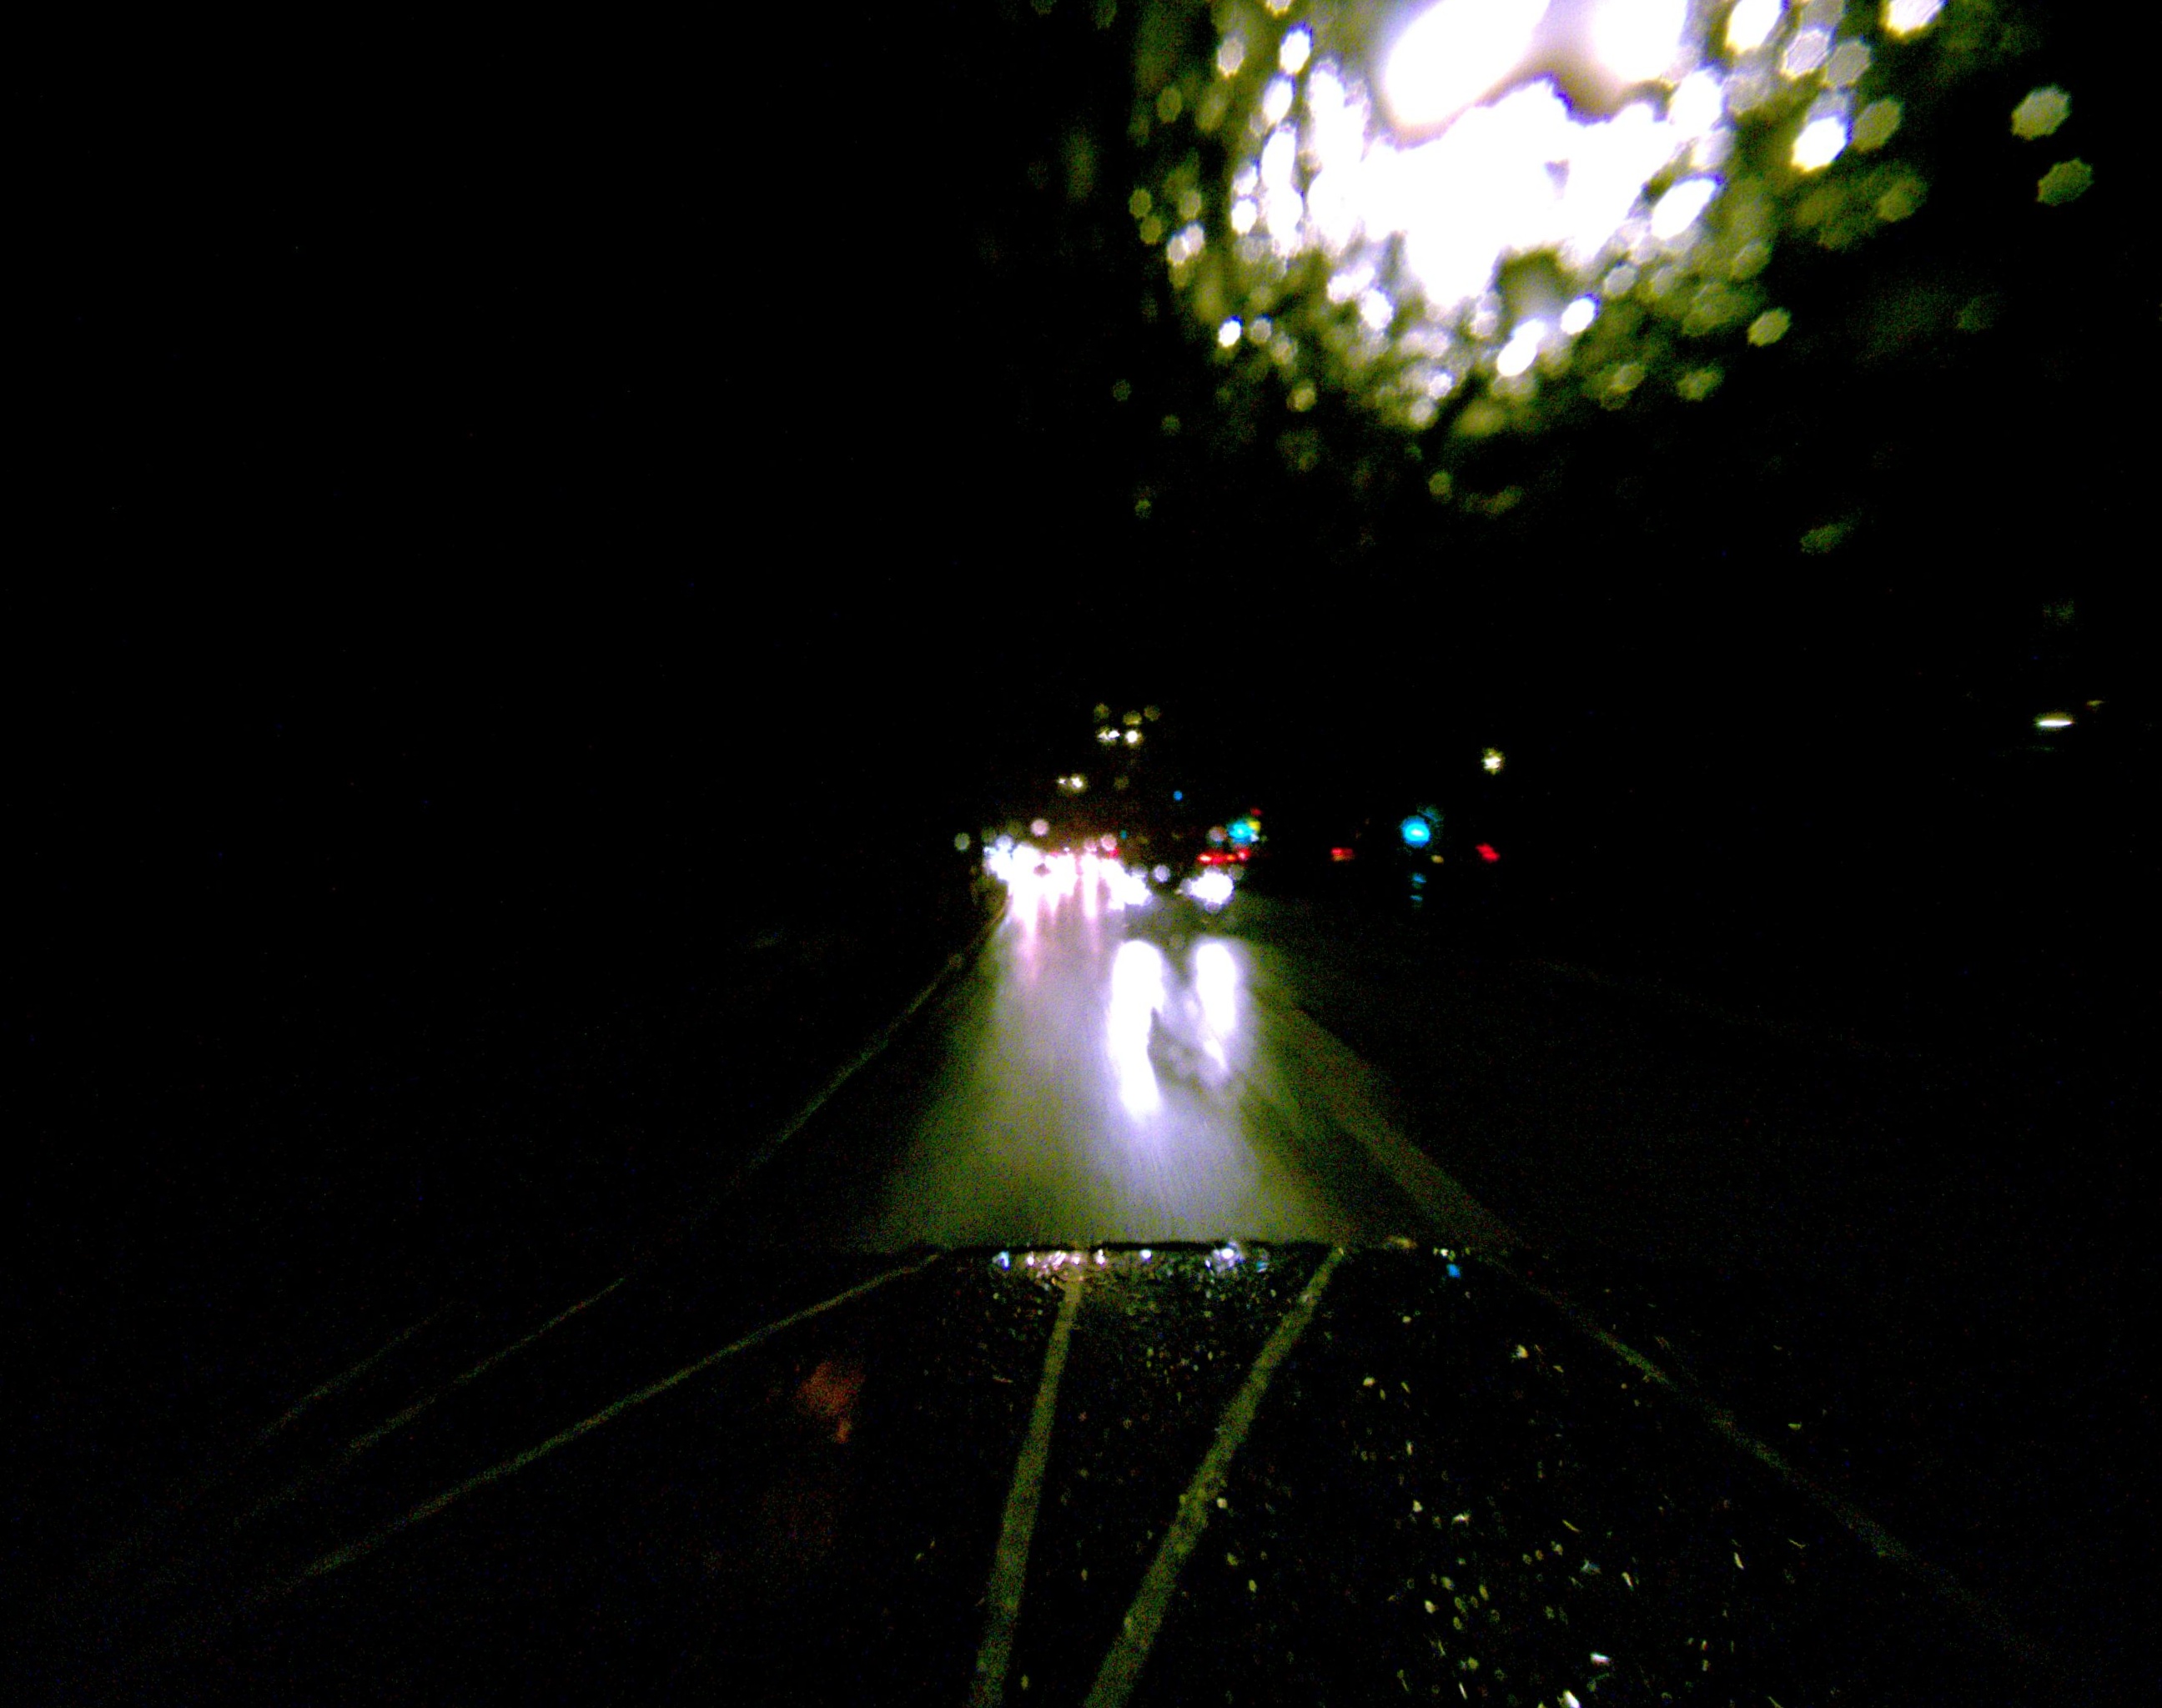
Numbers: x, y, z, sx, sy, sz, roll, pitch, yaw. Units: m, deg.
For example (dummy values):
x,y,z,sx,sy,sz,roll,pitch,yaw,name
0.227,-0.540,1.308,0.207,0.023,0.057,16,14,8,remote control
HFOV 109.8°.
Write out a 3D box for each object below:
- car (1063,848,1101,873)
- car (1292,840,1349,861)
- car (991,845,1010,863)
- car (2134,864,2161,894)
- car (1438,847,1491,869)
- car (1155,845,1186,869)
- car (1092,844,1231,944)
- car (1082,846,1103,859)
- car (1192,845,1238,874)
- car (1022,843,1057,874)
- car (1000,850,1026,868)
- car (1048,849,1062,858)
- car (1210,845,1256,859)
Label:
x,y,z,sx,sy,sz,roll,pitch,yaw,name
0.044,0.398,49.817,2.000,1.456,3.996,-1,2,-7,car
22.965,-0.349,72.982,4.911,1.929,2.003,0,2,30,car
-8.979,0.002,84.708,2.000,2.002,3.997,-1,1,-7,car
52.544,1.251,34.850,1.999,1.390,4.551,-1,2,-4,car
33.582,0.338,66.566,4.090,1.773,2.003,0,2,27,car
6.888,0.217,58.847,1.722,1.694,4.140,-1,2,-3,car
1.435,0.665,15.626,1.915,1.694,4.936,-1,1,-5,car
1.436,-0.194,98.279,1.705,1.562,4.706,-1,1,-12,car
7.992,0.275,45.711,1.713,1.525,4.597,-1,2,-4,car
-2.632,0.229,47.392,1.878,1.825,4.202,-1,1,-6,car
-6.129,0.427,67.946,2.000,1.456,3.995,-1,2,-10,car
-4.753,-0.112,139.135,1.798,1.562,4.908,-1,1,-10,car
15.763,-0.236,78.660,4.124,1.441,2.185,1,2,37,car
